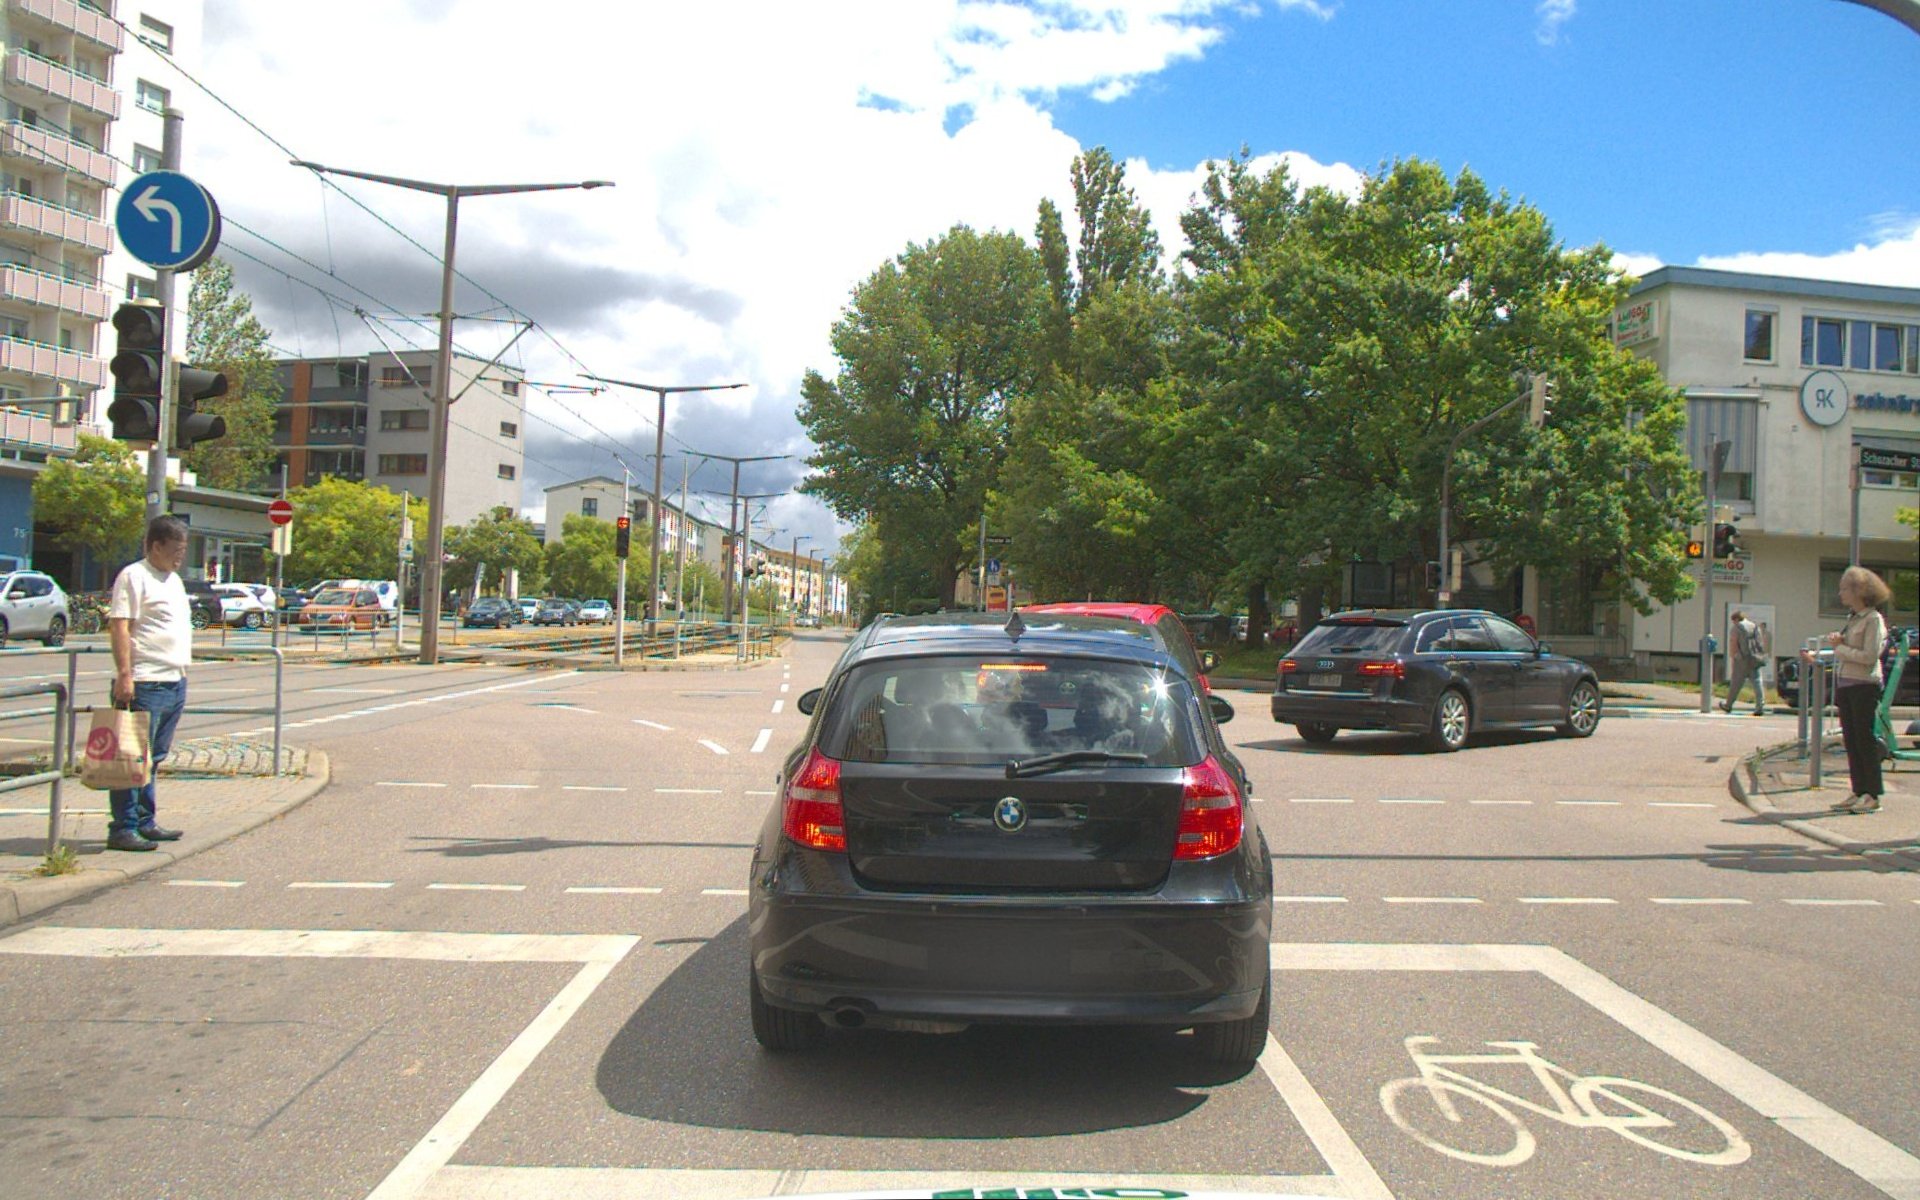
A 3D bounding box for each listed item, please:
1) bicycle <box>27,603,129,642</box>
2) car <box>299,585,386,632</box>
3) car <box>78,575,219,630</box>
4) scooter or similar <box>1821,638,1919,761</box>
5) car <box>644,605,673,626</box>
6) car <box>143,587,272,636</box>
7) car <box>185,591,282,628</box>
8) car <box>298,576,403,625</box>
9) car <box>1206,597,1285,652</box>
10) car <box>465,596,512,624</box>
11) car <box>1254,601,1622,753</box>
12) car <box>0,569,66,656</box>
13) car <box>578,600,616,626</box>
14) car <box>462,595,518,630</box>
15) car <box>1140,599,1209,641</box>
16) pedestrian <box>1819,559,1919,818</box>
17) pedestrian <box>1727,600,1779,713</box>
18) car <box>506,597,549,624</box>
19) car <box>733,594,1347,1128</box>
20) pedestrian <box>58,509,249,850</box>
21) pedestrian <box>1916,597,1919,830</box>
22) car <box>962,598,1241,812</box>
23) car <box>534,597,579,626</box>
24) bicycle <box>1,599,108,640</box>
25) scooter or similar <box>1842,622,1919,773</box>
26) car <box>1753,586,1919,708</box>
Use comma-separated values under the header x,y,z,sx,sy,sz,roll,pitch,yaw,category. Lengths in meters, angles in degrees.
x,y,z,sx,sy,sz,roll,pitch,yaw,category
-25.407,0.666,47.691,2.527,1.026,0.749,3,-2,-28,bicycle
-21.646,0.280,58.141,1.618,1.561,3.871,1,0,-1,car
-26.370,0.082,53.788,3.949,1.716,1.559,1,0,-33,car
8.767,0.935,15.934,0.536,1.082,1.263,1,0,14,scooter or similar
-23.665,1.201,129.815,1.618,1.561,3.871,1,0,-1,car
-26.859,0.410,59.120,1.629,1.676,3.896,1,0,45,car
-26.994,0.369,61.476,3.070,1.303,1.451,1,0,-35,car
-25.940,0.029,70.466,3.891,2.009,1.631,1,0,-42,car
10.449,0.865,60.830,1.694,1.904,3.993,1,0,-8,car
-26.600,0.551,93.428,1.559,1.500,3.774,1,0,-1,car
5.411,0.776,18.401,4.501,1.447,1.877,1,1,-43,car
-20.469,0.237,34.527,1.559,1.787,3.774,1,0,-1,car
-23.335,0.815,106.471,1.618,1.561,3.871,1,0,-1,car
-22.473,0.581,79.206,1.618,1.561,3.871,1,0,-1,car
9.275,0.849,71.719,1.829,1.691,3.990,1,0,-10,car
6.552,0.613,11.757,0.622,1.797,0.518,1,0,6,pedestrian
12.695,0.903,26.479,0.644,1.743,0.461,3,-1,27,pedestrian
-26.471,0.632,101.294,1.618,1.561,3.871,1,0,-1,car
0.232,0.713,6.264,1.665,1.424,3.420,1,0,0,car
-4.329,0.411,8.922,0.673,1.764,0.687,0,0,0,pedestrian
6.116,0.448,9.778,0.622,1.909,0.518,1,0,6,pedestrian
1.251,0.720,13.214,1.603,1.424,3.422,1,0,15,car
-22.514,0.631,92.446,1.618,1.561,3.871,1,0,-1,car
-25.038,0.543,45.798,2.527,1.026,0.749,3,-2,-28,bicycle
8.277,0.835,14.207,1.086,1.256,0.540,1,0,3,scooter or similar
16.799,0.839,29.443,4.449,2.049,1.997,2,0,-7,car
